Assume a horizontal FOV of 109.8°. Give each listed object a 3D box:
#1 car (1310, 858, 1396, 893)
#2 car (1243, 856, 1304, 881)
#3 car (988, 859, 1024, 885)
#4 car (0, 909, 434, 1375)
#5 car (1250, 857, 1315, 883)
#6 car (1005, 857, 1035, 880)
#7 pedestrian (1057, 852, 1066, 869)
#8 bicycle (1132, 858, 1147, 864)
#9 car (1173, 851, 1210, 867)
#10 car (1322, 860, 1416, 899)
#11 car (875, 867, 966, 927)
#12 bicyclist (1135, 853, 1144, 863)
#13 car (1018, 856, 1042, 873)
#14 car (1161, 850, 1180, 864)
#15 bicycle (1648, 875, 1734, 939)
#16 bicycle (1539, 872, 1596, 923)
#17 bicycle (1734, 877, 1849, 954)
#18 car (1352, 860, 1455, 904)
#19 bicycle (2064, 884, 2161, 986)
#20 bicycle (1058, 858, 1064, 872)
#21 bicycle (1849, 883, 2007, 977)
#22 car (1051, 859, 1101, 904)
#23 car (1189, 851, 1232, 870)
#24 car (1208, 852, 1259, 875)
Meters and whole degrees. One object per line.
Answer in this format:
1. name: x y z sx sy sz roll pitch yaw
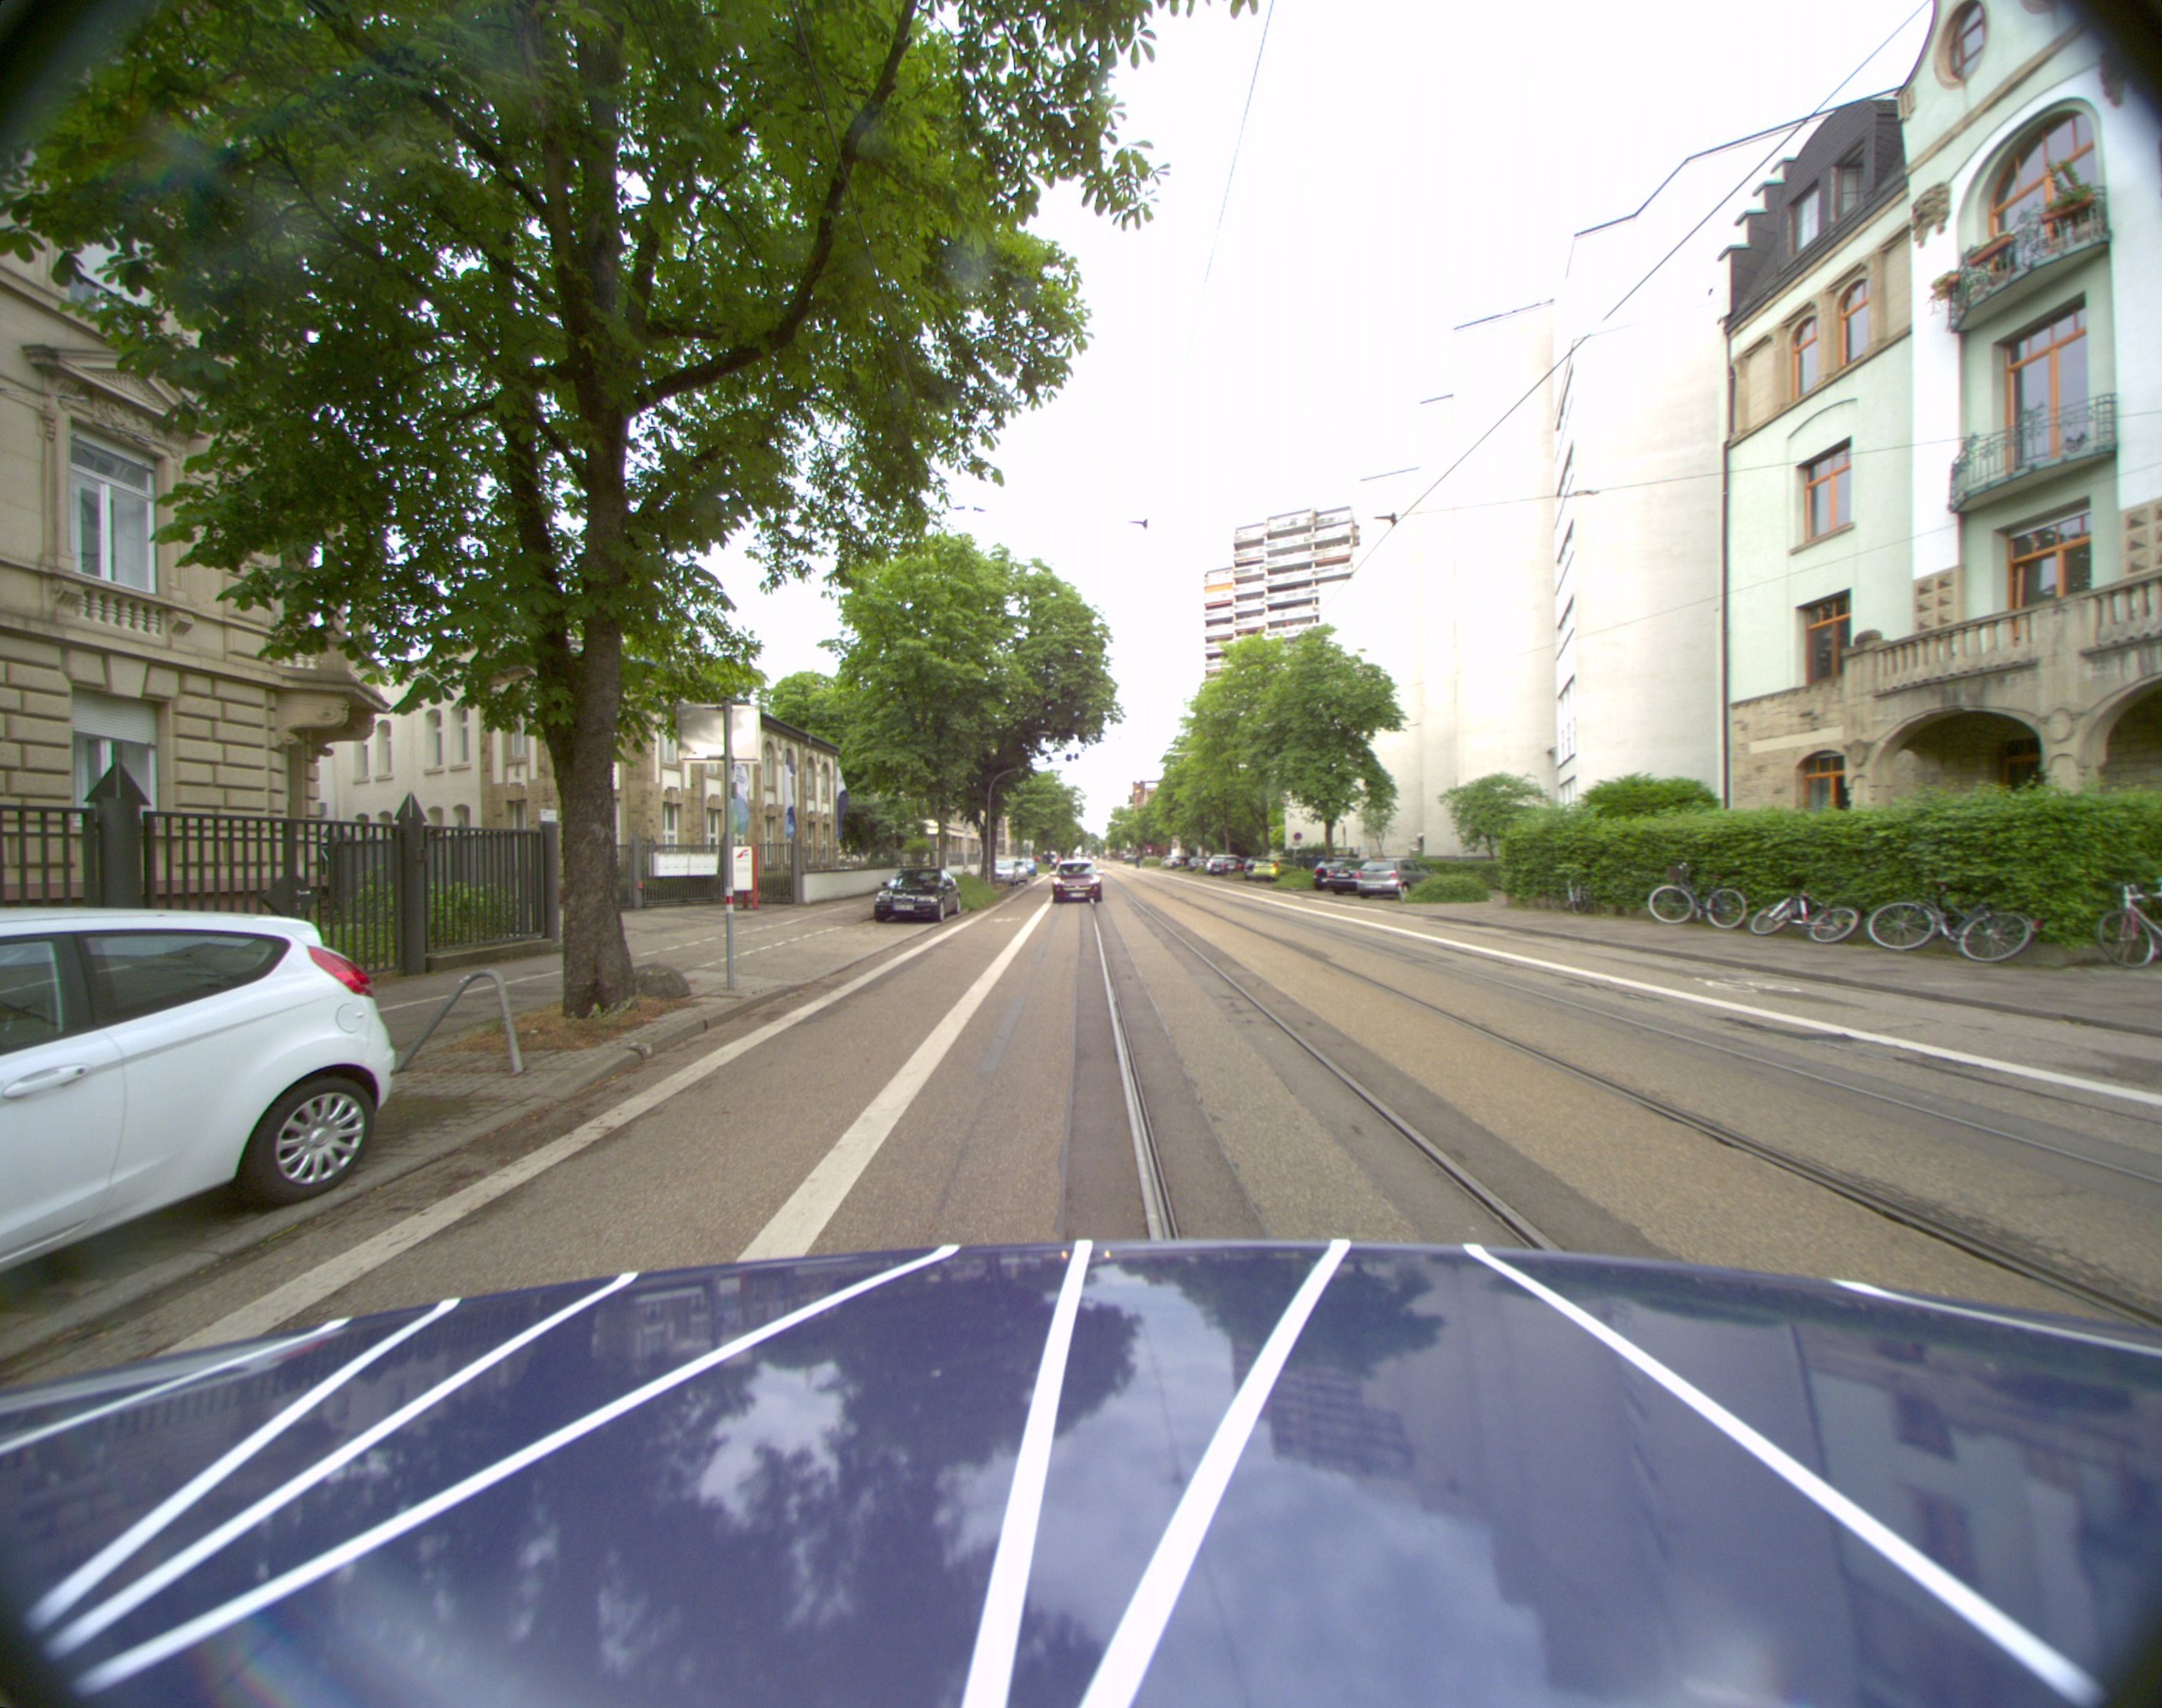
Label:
1. car: 11.893 0.901 33.109 4.008 1.395 1.691 -1 0 -39
2. car: 11.750 0.851 46.334 4.008 1.434 1.690 -1 0 -43
3. car: -4.223 0.978 43.292 1.606 1.362 3.837 1 0 1
4. car: -4.481 1.043 2.395 1.631 1.427 3.764 1 0 1
5. car: 11.503 0.878 43.286 4.008 1.387 1.690 -1 0 -43
6. car: -4.044 0.930 50.431 1.606 1.416 3.837 1 0 1
7. pedestrian: -1.782 0.585 69.469 0.684 1.541 0.704 -1 1 1
8. bicycle: 7.362 0.847 95.160 1.893 0.784 0.567 -1 1 -30
9. car: 11.539 0.549 79.306 4.008 1.611 1.690 -1 1 -43
10. car: 11.380 0.956 29.947 4.008 1.395 1.691 -1 0 -39
11. car: -4.268 1.093 20.719 1.606 1.362 3.837 1 0 1
12. bicyclist: 7.323 0.494 95.133 0.877 1.247 0.750 -1 1 -32
13. car: -4.186 0.843 62.945 1.606 1.362 3.837 1 0 1
14. car: 10.514 0.302 89.606 1.694 1.611 3.999 -1 0 -1
15. bicycle: 11.222 0.949 14.036 0.360 1.077 1.546 -1 0 0
16. bicycle: 11.226 0.973 17.577 0.360 1.077 1.546 -1 0 0
17. bicycle: 11.121 0.926 11.955 0.360 1.077 1.546 -1 0 0
18. car: 11.547 0.934 27.112 4.008 1.395 1.691 -1 0 -39
19. bicycle: 12.033 0.910 8.652 1.205 1.077 0.301 -3 1 2
20. bicycle: -1.849 0.987 69.632 0.414 1.197 1.707 -1 0 1
21. bicycle: 11.056 0.948 9.989 0.360 1.077 1.546 -1 0 0
22. car: -0.104 0.931 27.282 1.606 1.427 3.777 -2 0 2
23. car: 11.864 0.593 69.471 4.008 1.611 1.690 -1 1 -43
24. car: 11.275 0.699 56.061 4.008 1.611 1.690 -1 1 -43
